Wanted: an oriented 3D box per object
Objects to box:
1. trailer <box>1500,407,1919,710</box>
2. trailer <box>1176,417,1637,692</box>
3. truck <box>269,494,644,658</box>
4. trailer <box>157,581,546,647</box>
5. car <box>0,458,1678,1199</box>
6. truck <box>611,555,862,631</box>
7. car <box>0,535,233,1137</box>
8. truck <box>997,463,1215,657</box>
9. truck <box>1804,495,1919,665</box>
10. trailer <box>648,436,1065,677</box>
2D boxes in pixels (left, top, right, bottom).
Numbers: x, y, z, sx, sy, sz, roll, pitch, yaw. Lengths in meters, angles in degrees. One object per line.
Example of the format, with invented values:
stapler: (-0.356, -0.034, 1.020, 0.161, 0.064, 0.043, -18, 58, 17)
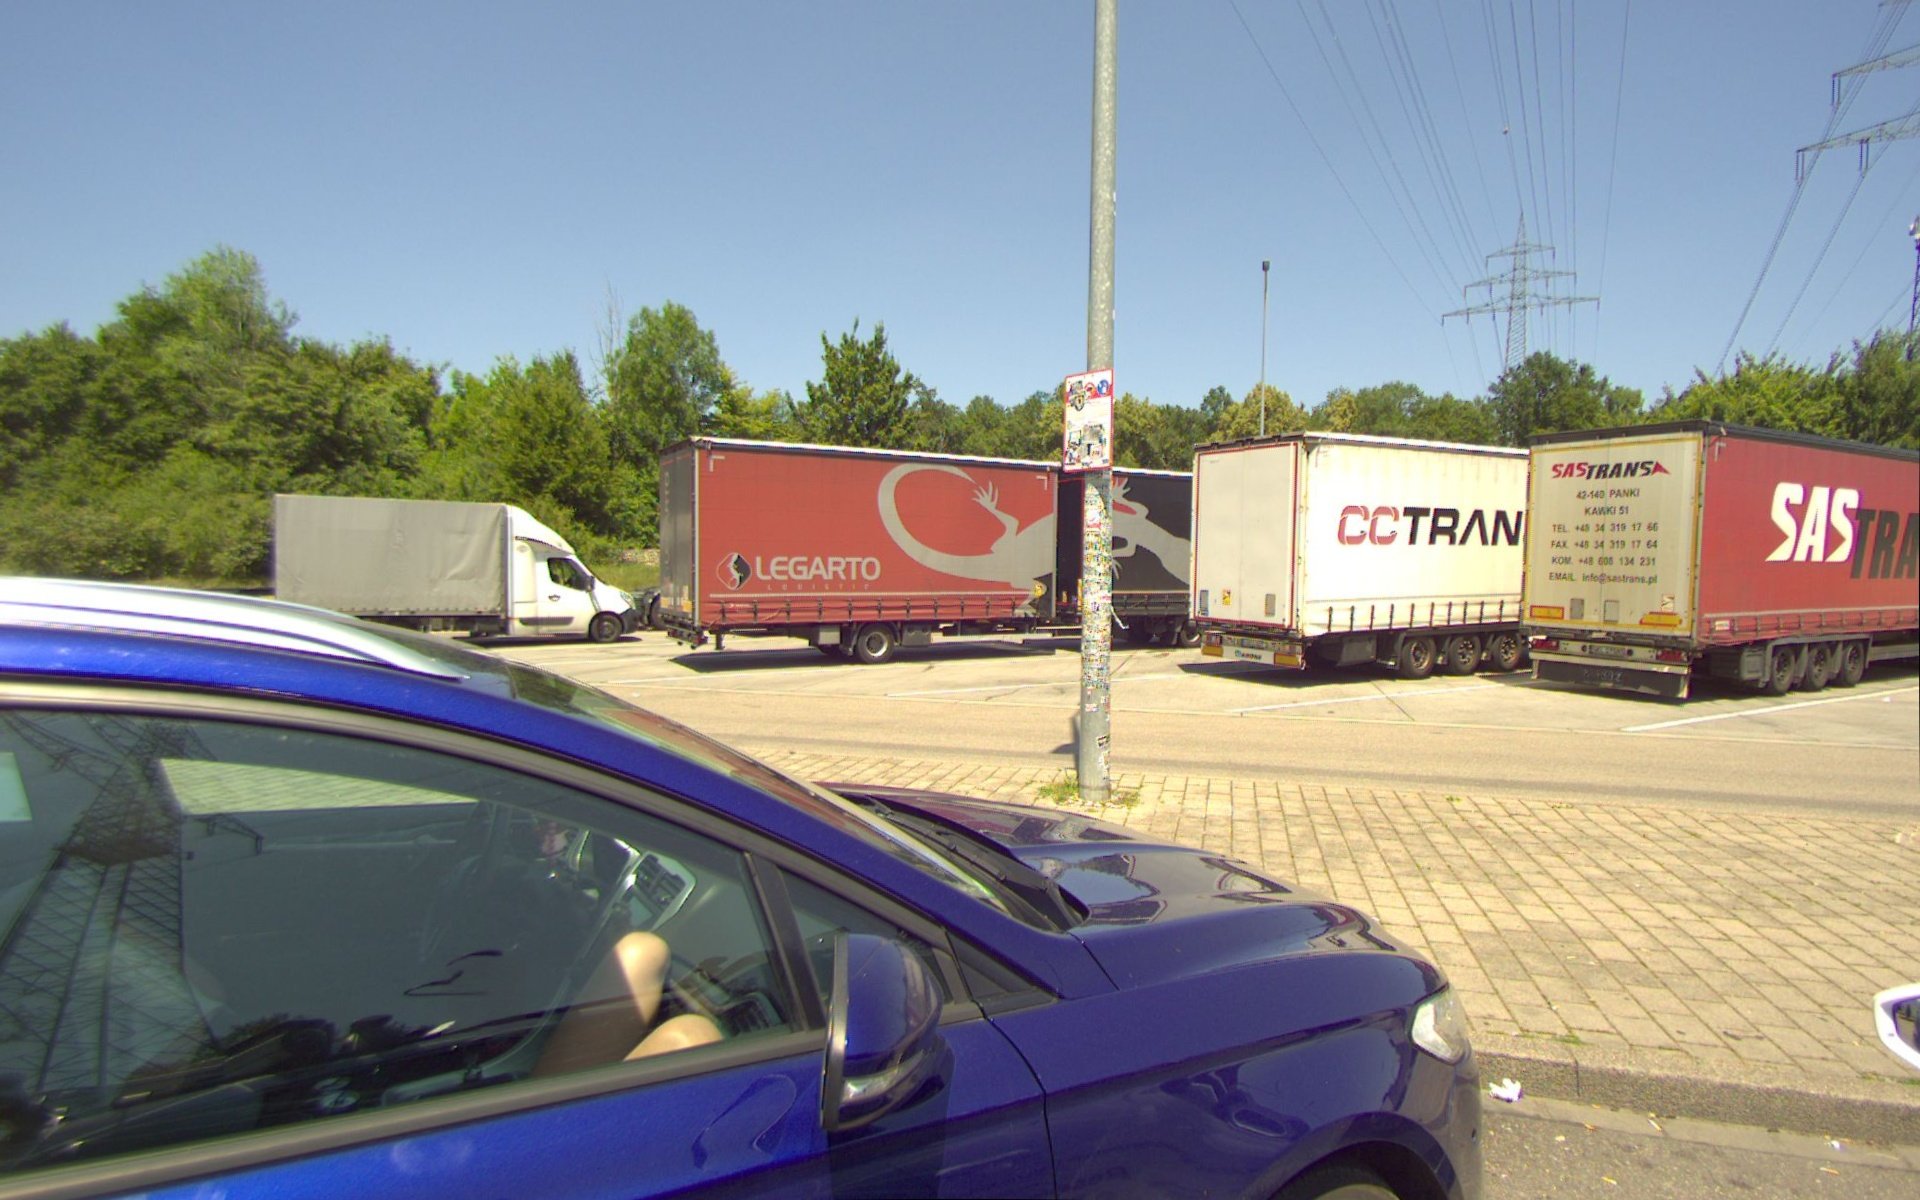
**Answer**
trailer: (15.421, -0.707, 18.564, 13.559, 4.189, 2.892, -1, 3, -30)
trailer: (8.882, -0.825, 19.329, 10.049, 4.267, 2.714, -1, 3, -30)
truck: (-11.187, -0.580, 22.903, 7.254, 3.254, 2.515, -1, 3, -30)
trailer: (-14.816, 0.251, 25.187, 7.996, 1.394, 2.211, -1, 3, -30)
car: (-0.964, 0.653, 1.471, 4.592, 1.502, 1.727, 0, 0, -33)
truck: (-6.467, -0.172, 29.527, 6.961, 2.040, 1.984, 0, 0, -30)
car: (-4.537, 0.581, 2.256, 4.592, 1.554, 1.726, 0, 1, -33)
truck: (3.371, -0.911, 23.362, 4.273, 4.072, 2.689, -1, 3, -30)
truck: (21.742, -0.436, 22.309, 5.418, 3.475, 2.838, -1, 3, -30)
trailer: (-1.911, -0.836, 20.268, 7.996, 4.101, 2.696, -1, 3, -30)
